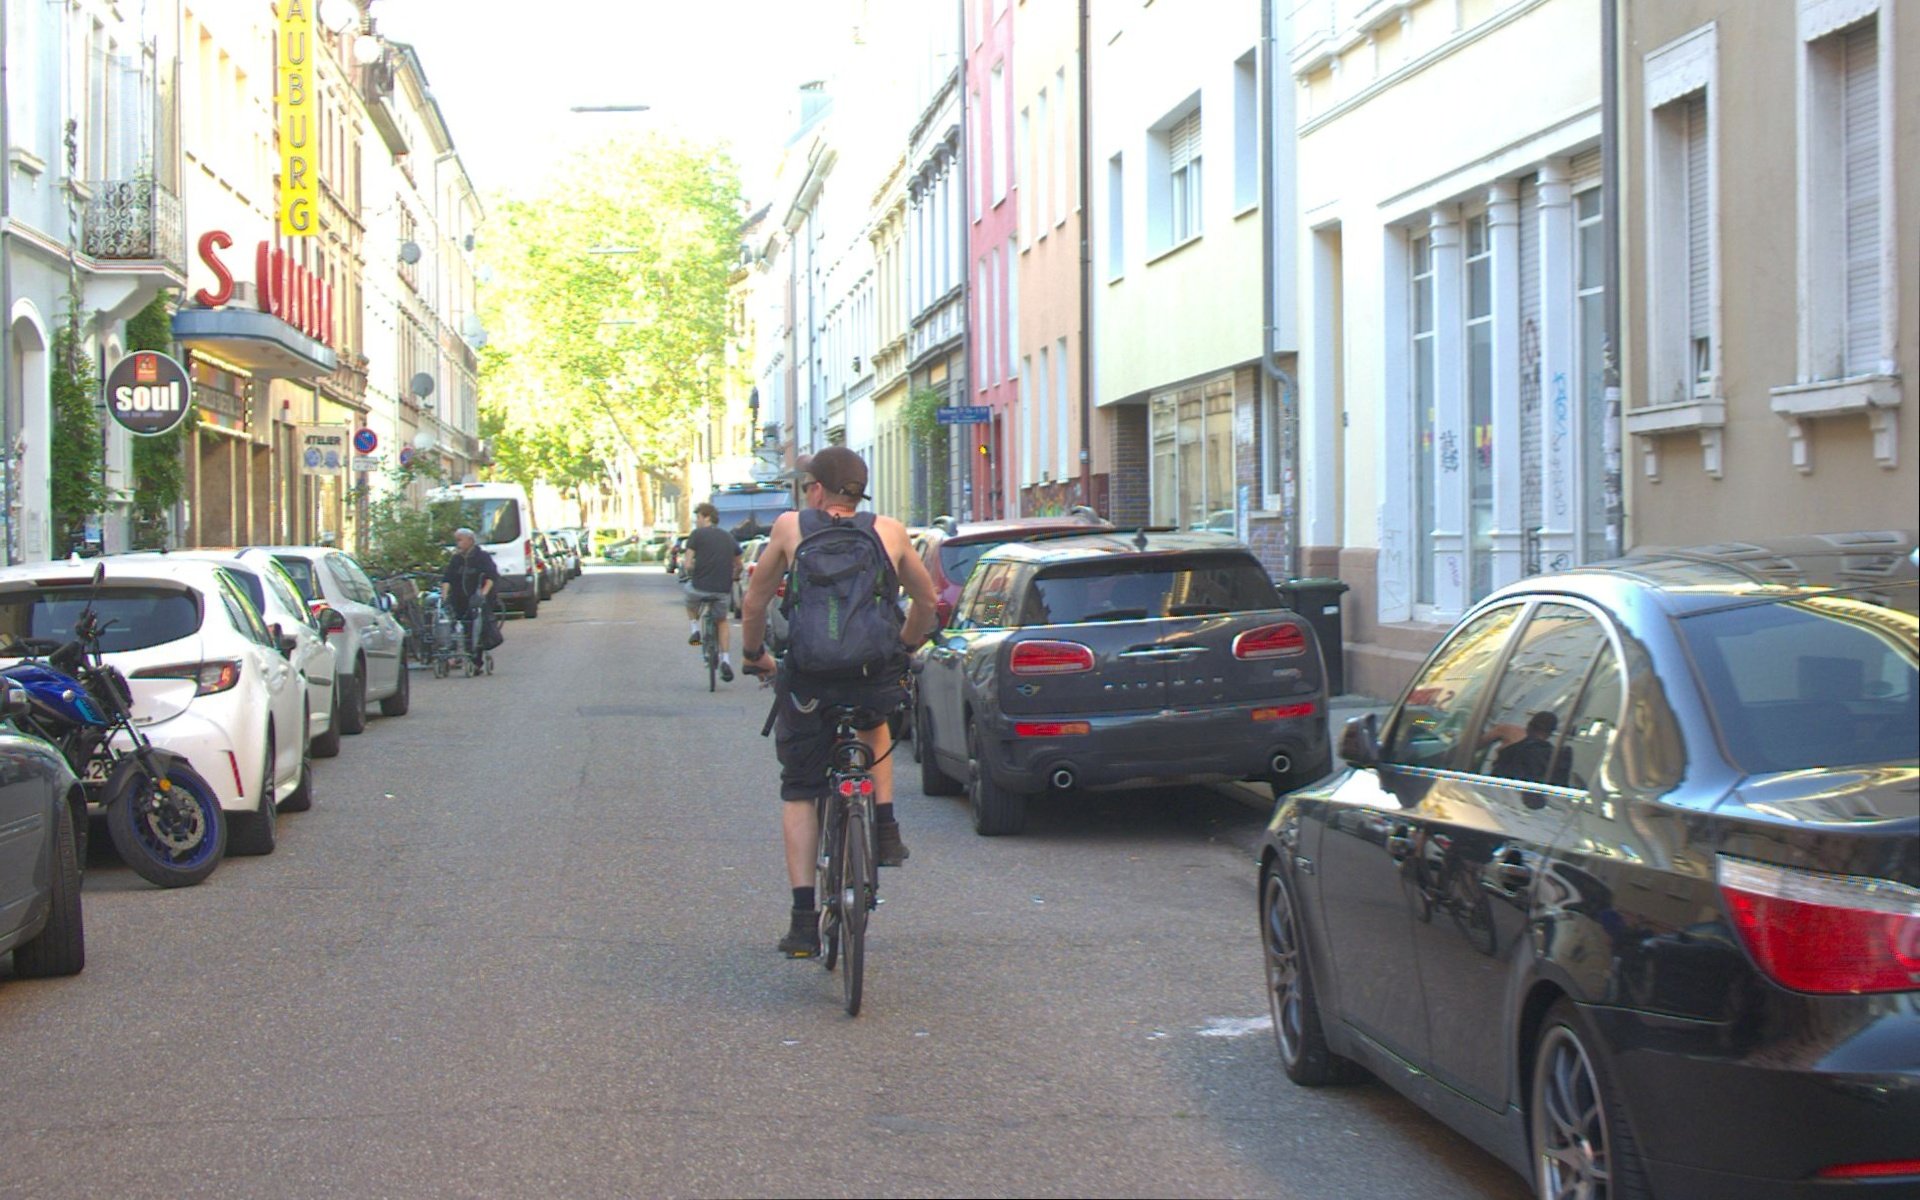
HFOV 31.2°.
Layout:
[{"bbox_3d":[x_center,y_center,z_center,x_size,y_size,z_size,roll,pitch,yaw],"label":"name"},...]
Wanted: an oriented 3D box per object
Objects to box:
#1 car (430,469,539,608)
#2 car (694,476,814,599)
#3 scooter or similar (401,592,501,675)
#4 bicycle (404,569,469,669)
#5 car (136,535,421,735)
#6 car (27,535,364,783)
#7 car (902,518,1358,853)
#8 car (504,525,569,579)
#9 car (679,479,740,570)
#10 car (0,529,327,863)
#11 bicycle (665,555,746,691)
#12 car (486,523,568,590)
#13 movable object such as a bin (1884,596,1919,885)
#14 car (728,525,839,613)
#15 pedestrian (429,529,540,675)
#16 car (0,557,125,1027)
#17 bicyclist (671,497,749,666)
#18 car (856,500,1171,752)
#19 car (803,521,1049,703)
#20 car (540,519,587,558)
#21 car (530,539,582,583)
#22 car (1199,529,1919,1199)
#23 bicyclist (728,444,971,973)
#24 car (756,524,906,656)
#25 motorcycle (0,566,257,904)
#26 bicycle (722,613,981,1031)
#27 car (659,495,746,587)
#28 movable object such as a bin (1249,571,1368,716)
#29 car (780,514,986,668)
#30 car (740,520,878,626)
[{"bbox_3d":[-8.916,-1.162,64.551,1.909,2.488,4.166,-1,1,-7],"label":"car"},{"bbox_3d":[-4.637,-1.371,76.335,2.307,2.529,6.771,-3,1,-5],"label":"car"},{"bbox_3d":[-5.520,0.360,37.264,0.768,0.870,0.773,0,1,-41],"label":"scooter or similar"},{"bbox_3d":[-6.016,0.199,39.446,0.699,1.102,2.275,1,1,-9],"label":"bicycle"},{"bbox_3d":[-5.434,0.237,27.806,1.672,1.437,3.754,-3,1,-3],"label":"car"},{"bbox_3d":[-4.974,0.332,22.794,1.672,1.437,3.769,-3,1,-5],"label":"car"},{"bbox_3d":[0.784,0.380,18.408,1.816,1.516,4.001,-3,1,-5],"label":"car"},{"bbox_3d":[-11.972,-1.360,97.385,1.672,1.437,4.166,-3,1,-5],"label":"car"},{"bbox_3d":[-10.869,-3.233,148.897,2.307,3.755,6.771,-3,1,-5],"label":"car"},{"bbox_3d":[-4.189,0.415,17.436,1.671,1.437,4.166,-3,1,-8],"label":"car"},{"bbox_3d":[-2.470,0.197,33.168,0.702,1.203,2.343,1,2,-6],"label":"bicycle"},{"bbox_3d":[-9.918,-1.001,78.931,1.672,1.437,4.166,-3,1,-5],"label":"car"},{"bbox_3d":[3.958,0.510,12.776,0.807,1.071,0.677,-3,1,0],"label":"movable object such as a bin"},{"bbox_3d":[-3.160,-0.556,60.948,1.710,1.442,4.001,-3,1,-5],"label":"car"},{"bbox_3d":[-5.194,0.019,37.558,0.898,1.573,0.773,0,1,-41],"label":"pedestrian"},{"bbox_3d":[-3.775,0.626,10.266,1.710,1.378,4.356,-1,2,-3],"label":"car"},{"bbox_3d":[-2.416,-0.187,33.161,0.702,1.599,0.813,1,2,-6],"label":"bicyclist"},{"bbox_3d":[0.287,0.142,24.152,1.710,1.551,4.001,-3,1,-5],"label":"car"},{"bbox_3d":[-0.356,0.071,29.418,1.710,1.378,4.001,-3,1,-5],"label":"car"},{"bbox_3d":[-15.269,-2.365,132.564,1.672,1.437,4.166,-3,1,-5],"label":"car"},{"bbox_3d":[-14.095,-1.353,120.050,1.672,1.437,4.166,-3,1,-5],"label":"car"},{"bbox_3d":[1.872,0.582,7.865,1.816,1.433,4.791,-3,1,-5],"label":"car"},{"bbox_3d":[-0.377,0.331,11.153,0.702,1.627,1.090,1,0,-5],"label":"bicyclist"},{"bbox_3d":[-1.692,-0.146,43.995,1.620,1.545,4.001,-3,1,-5],"label":"car"},{"bbox_3d":[-4.170,0.596,14.692,2.146,1.354,0.540,-4,2,-23],"label":"motorcycle"},{"bbox_3d":[-0.402,0.669,11.407,0.702,1.204,2.342,1,1,-5],"label":"bicycle"},{"bbox_3d":[-7.648,-1.739,101.621,2.307,2.529,6.771,-3,1,-5],"label":"car"},{"bbox_3d":[2.736,0.335,27.019,0.807,1.071,0.677,-3,1,0],"label":"movable object such as a bin"},{"bbox_3d":[-0.825,-0.109,34.371,1.710,1.378,4.001,-3,1,-5],"label":"car"},{"bbox_3d":[-2.206,-0.394,49.422,1.710,1.389,4.001,-3,1,-5],"label":"car"}]
